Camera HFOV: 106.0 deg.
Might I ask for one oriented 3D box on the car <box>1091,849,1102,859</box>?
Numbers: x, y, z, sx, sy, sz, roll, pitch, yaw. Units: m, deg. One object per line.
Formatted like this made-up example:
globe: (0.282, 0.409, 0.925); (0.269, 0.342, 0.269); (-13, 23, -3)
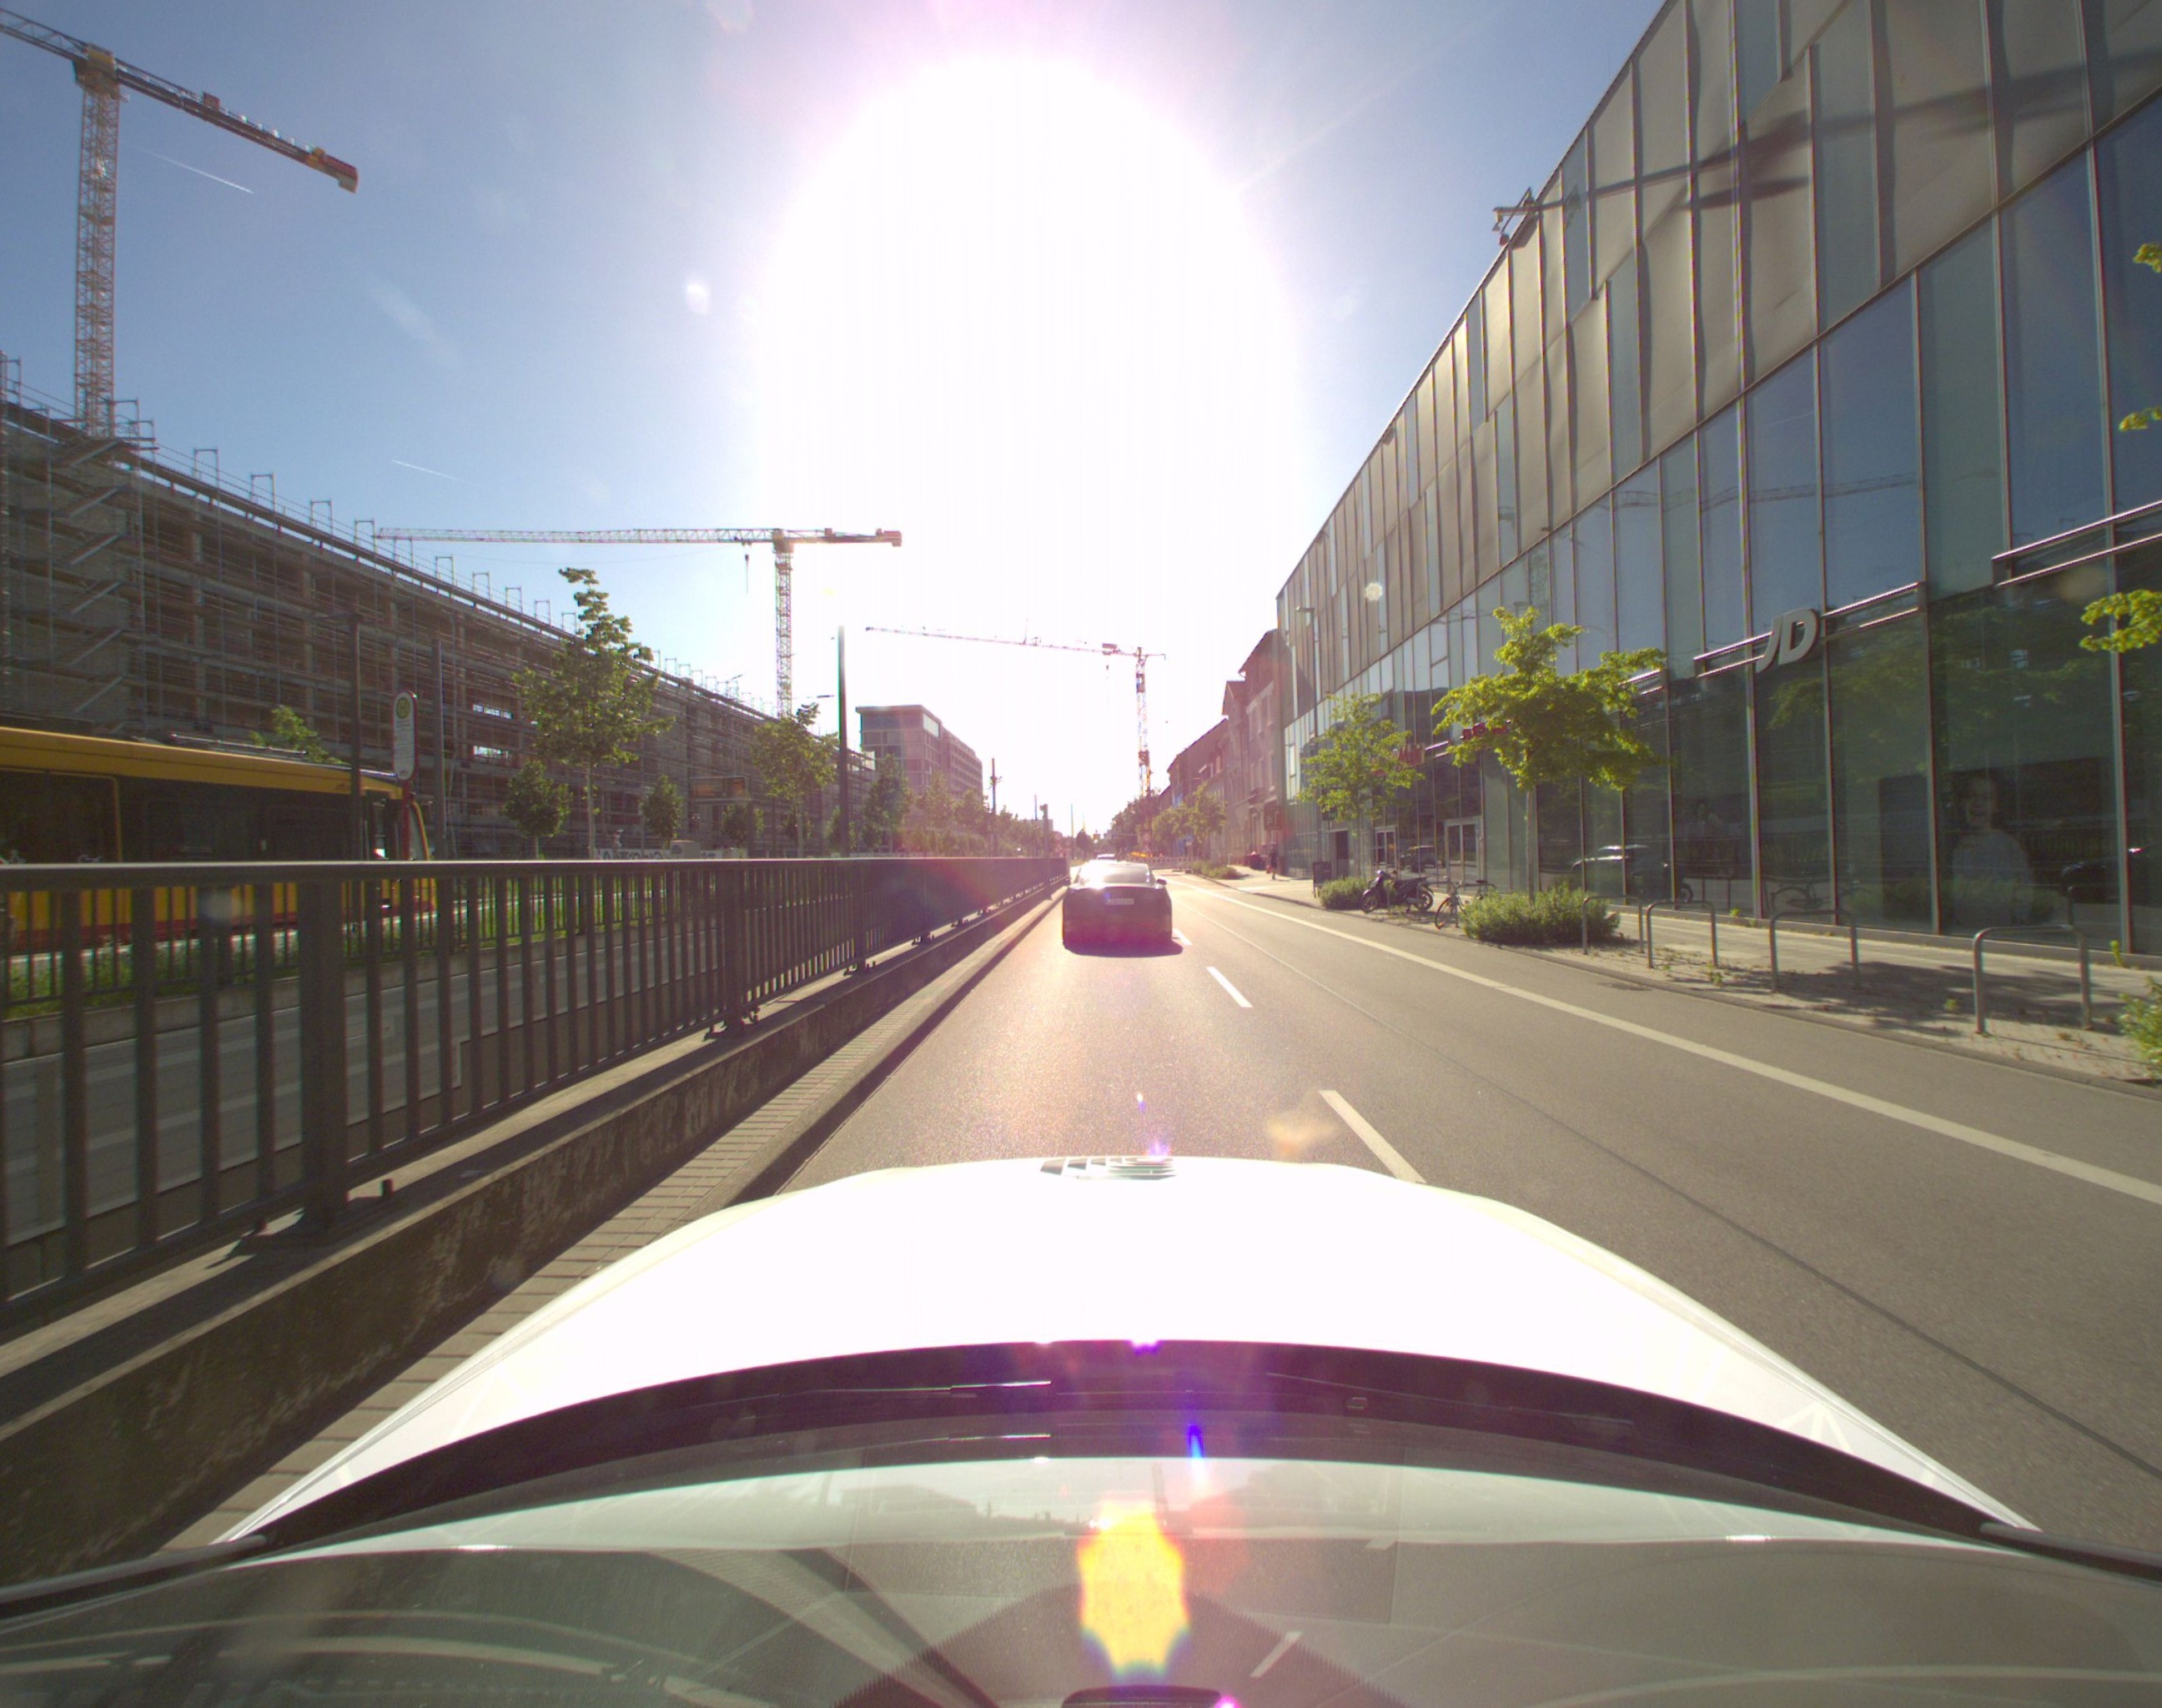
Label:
car: (2.836, -0.004, 145.793); (1.806, 1.809, 4.042); (-1, 0, 3)

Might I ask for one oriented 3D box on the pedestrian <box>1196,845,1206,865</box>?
pedestrian: (11.935, 0.103, 81.123); (0.848, 1.863, 0.930); (-2, 0, 1)

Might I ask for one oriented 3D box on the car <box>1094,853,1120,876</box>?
car: (1.893, 0.715, 58.554); (1.777, 1.546, 4.042); (-1, 0, 3)

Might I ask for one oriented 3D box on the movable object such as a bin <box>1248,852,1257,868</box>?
movable object such as a bin: (12.362, 0.445, 58.599); (0.556, 1.169, 0.563); (0, -1, 6)

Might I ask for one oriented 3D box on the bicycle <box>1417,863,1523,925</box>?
bicycle: (8.043, 0.807, 16.866); (1.880, 1.151, 0.669); (-3, 0, -9)

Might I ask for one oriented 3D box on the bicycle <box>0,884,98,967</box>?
bicycle: (-12.225, 0.808, 8.828); (0.535, 0.885, 2.088); (-1, 0, 2)

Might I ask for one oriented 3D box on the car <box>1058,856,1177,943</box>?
car: (0.732, 0.772, 15.913); (1.991, 1.434, 4.416); (-1, 0, 3)

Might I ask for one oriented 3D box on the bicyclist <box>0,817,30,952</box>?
bicyclist: (-12.232, 0.345, 8.834); (0.535, 1.491, 0.853); (-1, 0, 2)

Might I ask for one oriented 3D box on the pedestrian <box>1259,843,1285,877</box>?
pedestrian: (10.875, 0.331, 46.428); (1.091, 1.863, 1.523); (-2, 0, 1)

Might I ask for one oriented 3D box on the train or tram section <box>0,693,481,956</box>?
train or tram section: (-15.040, -0.376, 6.852); (2.859, 3.279, 22.154); (0, 0, 2)

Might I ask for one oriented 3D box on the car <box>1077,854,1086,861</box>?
car: (0.182, 0.806, 182.235); (1.986, 1.684, 4.000); (0, 0, 1)

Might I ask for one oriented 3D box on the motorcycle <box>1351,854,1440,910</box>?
motorcycle: (8.263, 0.742, 21.444); (2.054, 1.353, 0.656); (-4, -1, 25)

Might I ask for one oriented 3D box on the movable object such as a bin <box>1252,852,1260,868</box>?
movable object such as a bin: (12.412, 0.438, 57.748); (0.556, 1.169, 0.563); (0, -1, 6)

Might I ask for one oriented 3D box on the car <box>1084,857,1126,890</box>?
car: (1.081, 0.807, 35.633); (1.709, 1.320, 4.003); (-1, 0, 3)
